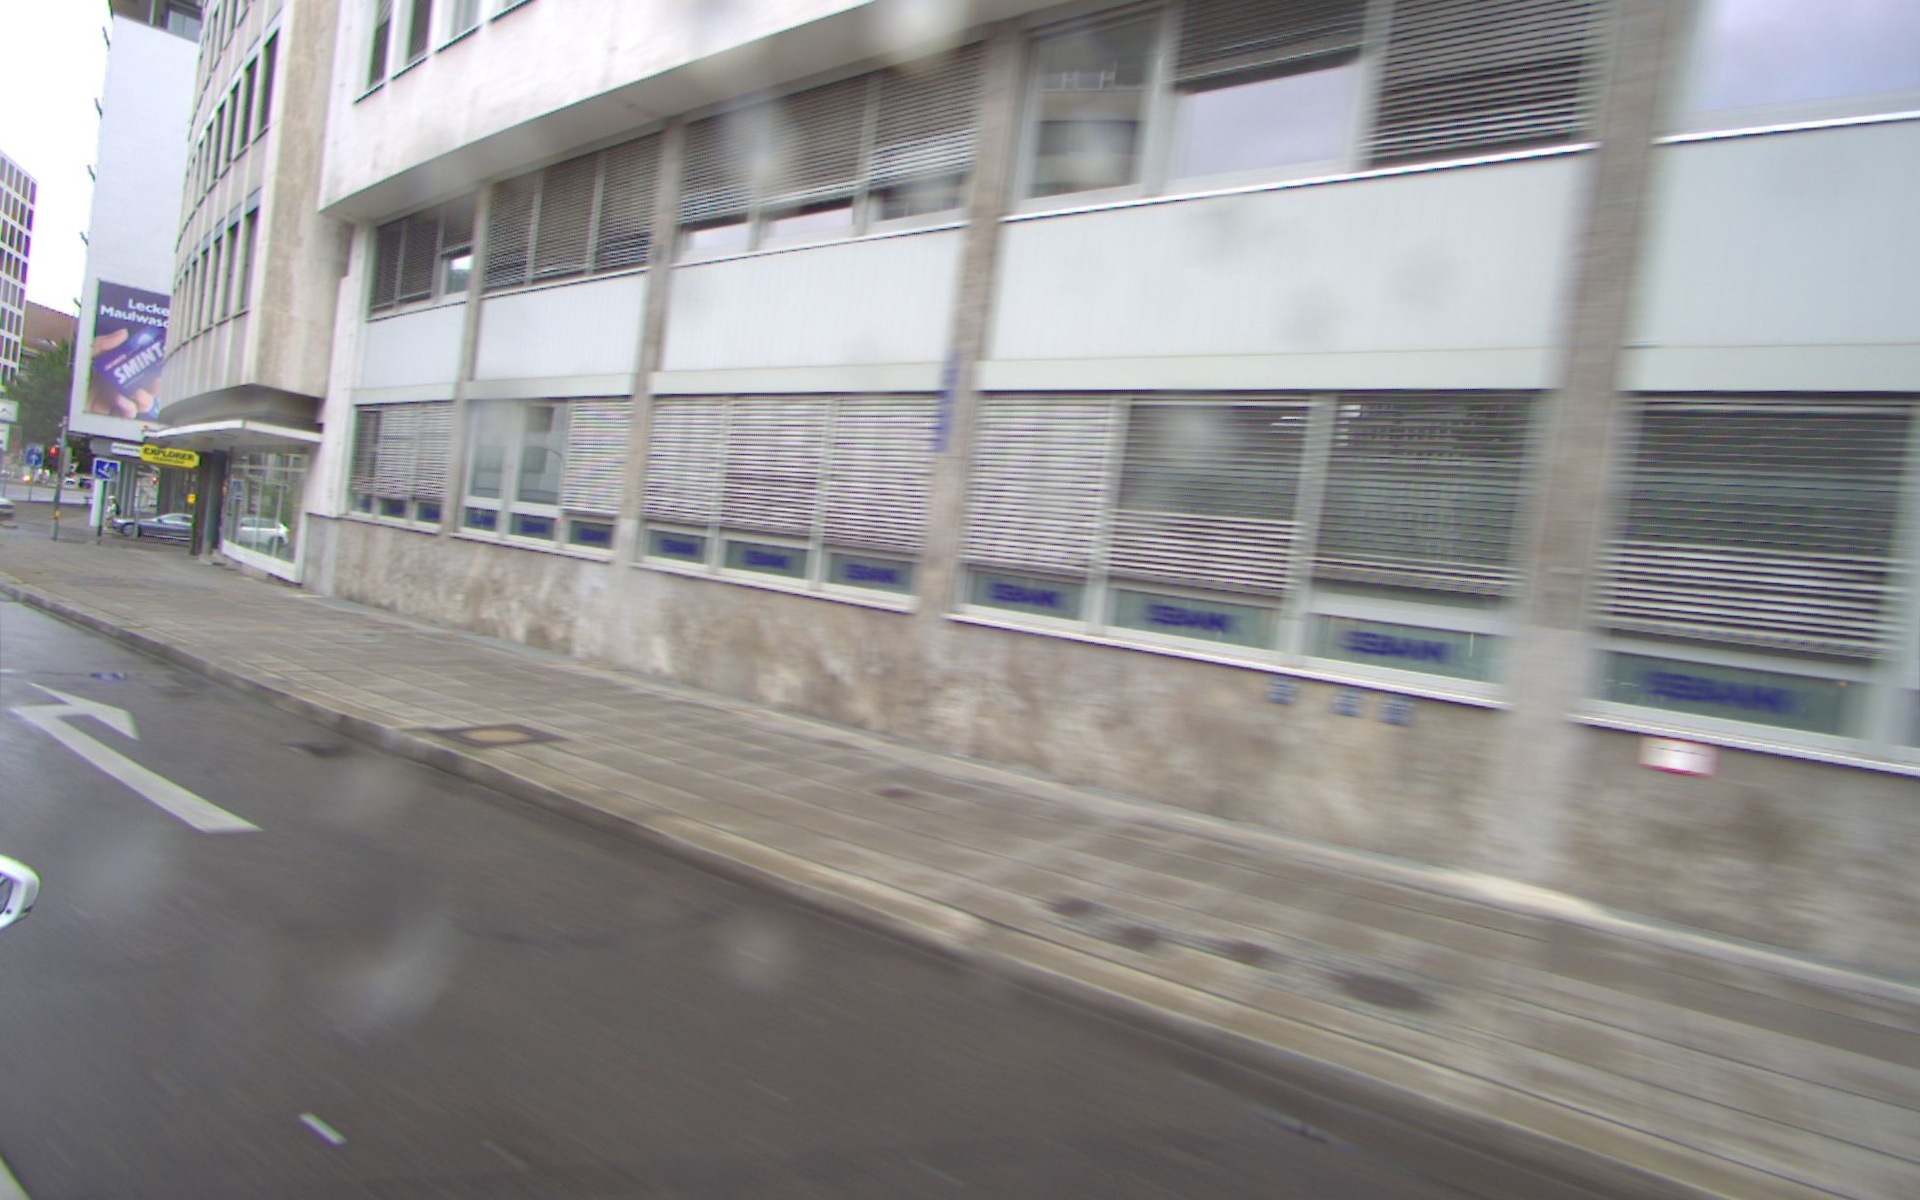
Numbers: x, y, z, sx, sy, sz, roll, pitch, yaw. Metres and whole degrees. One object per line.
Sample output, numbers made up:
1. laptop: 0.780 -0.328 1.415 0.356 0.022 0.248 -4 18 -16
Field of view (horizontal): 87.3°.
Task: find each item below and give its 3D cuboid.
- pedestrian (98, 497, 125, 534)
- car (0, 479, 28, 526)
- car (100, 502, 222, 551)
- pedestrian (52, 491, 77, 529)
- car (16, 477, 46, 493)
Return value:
1. pedestrian: -41.654 -4.121 49.377 0.762 1.698 0.723 7 0 -34
2. car: -40.874 -4.284 40.464 4.457 1.771 1.996 8 0 -11
3. car: -37.566 -3.436 47.461 4.323 1.527 1.897 10 -2 -37
4. pedestrian: -42.947 -4.316 48.253 0.724 1.688 0.683 7 -1 -41
5. car: -126.858 -15.697 137.449 1.980 1.726 3.967 9 0 -30
